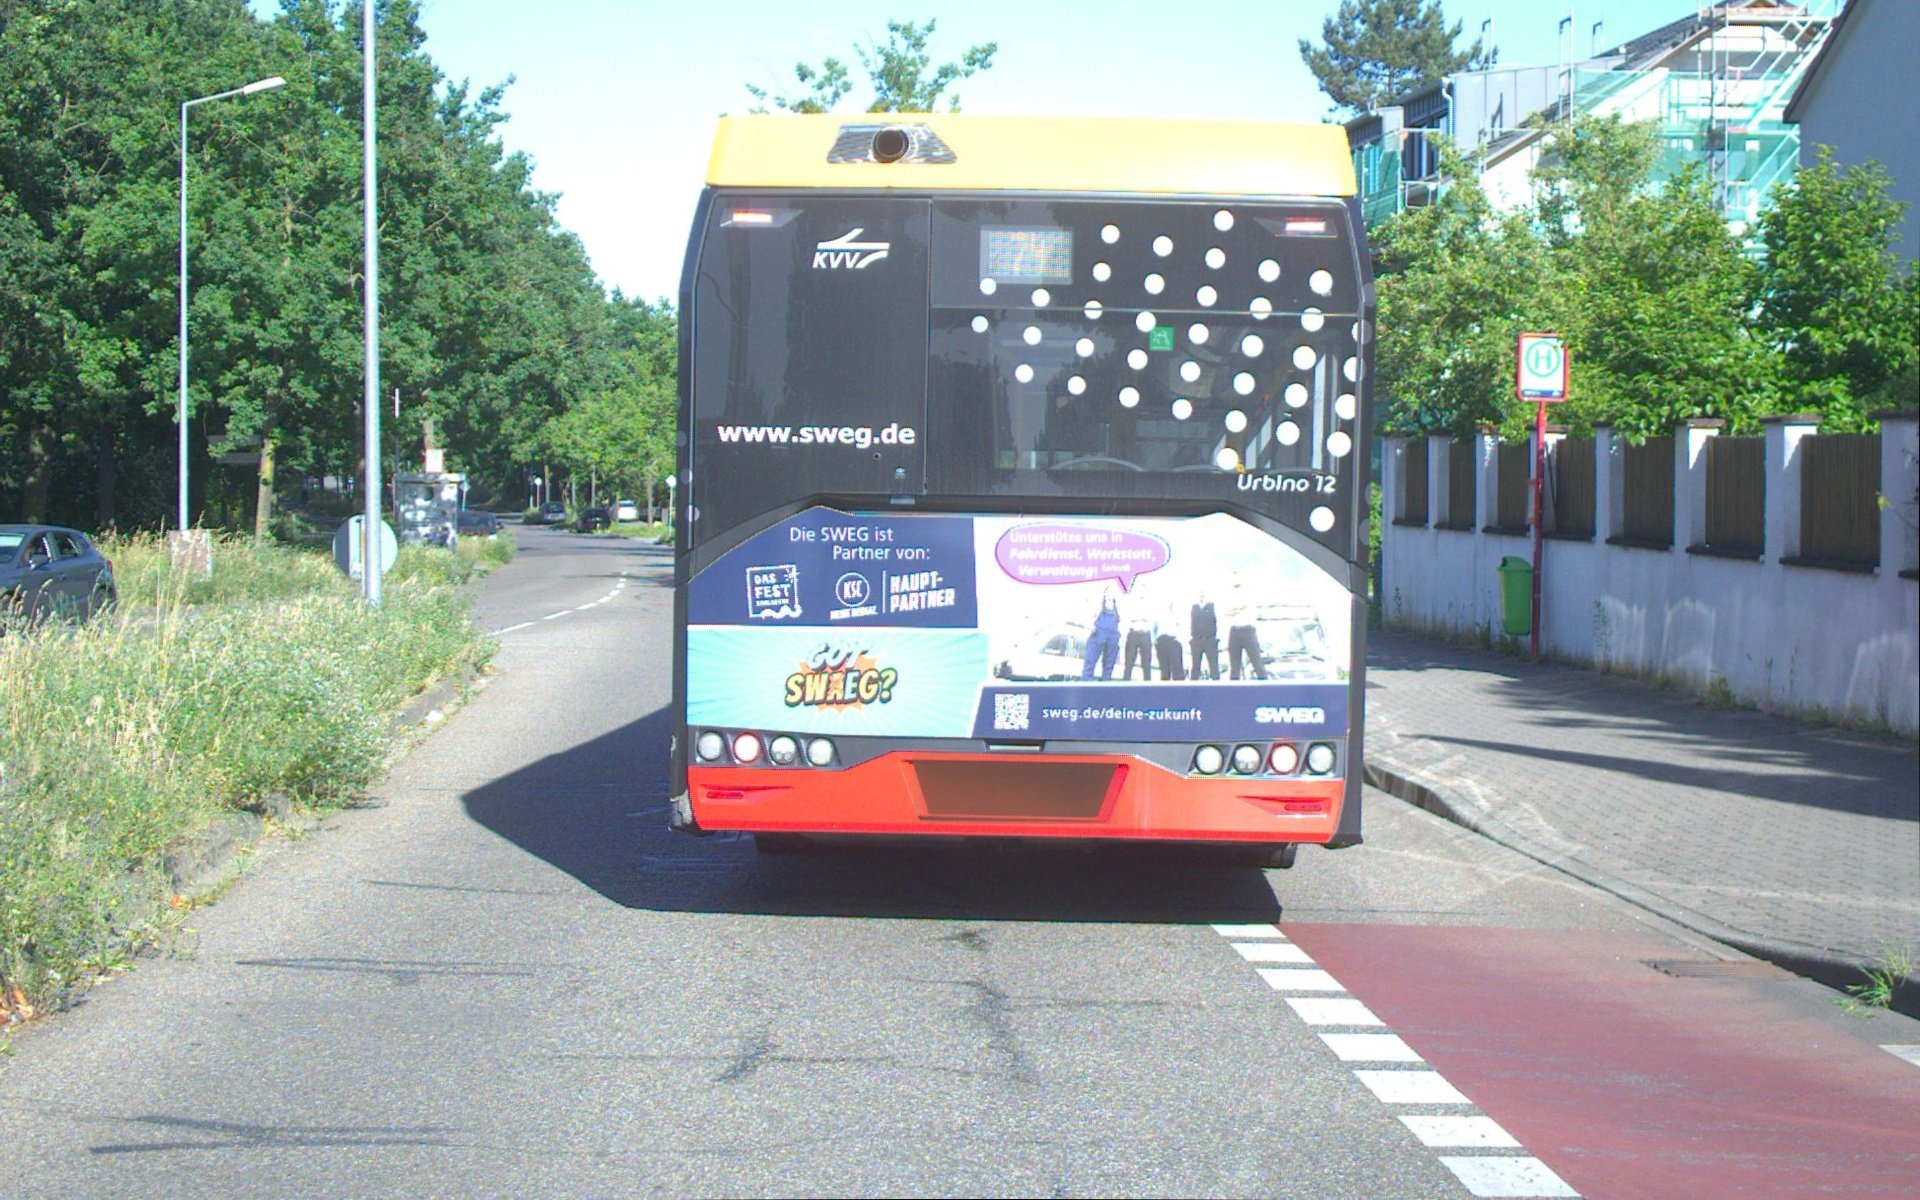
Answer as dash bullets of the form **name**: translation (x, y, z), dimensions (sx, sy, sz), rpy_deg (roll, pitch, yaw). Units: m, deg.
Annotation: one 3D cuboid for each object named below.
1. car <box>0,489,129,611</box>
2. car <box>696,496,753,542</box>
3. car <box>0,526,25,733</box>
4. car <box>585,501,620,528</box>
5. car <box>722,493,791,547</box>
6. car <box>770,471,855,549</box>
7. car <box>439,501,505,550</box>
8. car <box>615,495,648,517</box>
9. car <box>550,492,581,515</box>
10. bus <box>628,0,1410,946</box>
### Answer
- **car**: translation (-11.724, -0.630, 41.977), dimensions (1.710, 1.426, 3.999), rpy_deg (-1, 2, 7)
- **car**: translation (-9.119, -3.133, 132.962), dimensions (1.933, 1.736, 4.001), rpy_deg (0, 2, -7)
- **car**: translation (-7.692, 0.268, 22.542), dimensions (1.993, 1.445, 4.400), rpy_deg (0, 2, -1)
- **car**: translation (-20.943, -4.996, 201.114), dimensions (1.933, 1.537, 4.001), rpy_deg (0, 2, -7)
- **car**: translation (-6.562, -2.578, 110.541), dimensions (1.935, 1.698, 4.001), rpy_deg (0, 2, -7)
- **car**: translation (-3.902, -2.370, 90.282), dimensions (1.835, 1.964, 4.760), rpy_deg (0, 2, -7)
- **car**: translation (-14.895, -2.286, 104.878), dimensions (1.935, 1.474, 4.001), rpy_deg (0, 2, -9)
- **car**: translation (-21.735, -6.221, 227.432), dimensions (1.933, 1.449, 4.001), rpy_deg (0, 2, -8)
- **car**: translation (-25.958, -6.339, 226.152), dimensions (1.933, 1.449, 4.001), rpy_deg (0, 2, -8)
- **bus**: translation (0.199, -0.616, 18.425), dimensions (2.757, 3.446, 12.399), rpy_deg (0, 1, 0)
